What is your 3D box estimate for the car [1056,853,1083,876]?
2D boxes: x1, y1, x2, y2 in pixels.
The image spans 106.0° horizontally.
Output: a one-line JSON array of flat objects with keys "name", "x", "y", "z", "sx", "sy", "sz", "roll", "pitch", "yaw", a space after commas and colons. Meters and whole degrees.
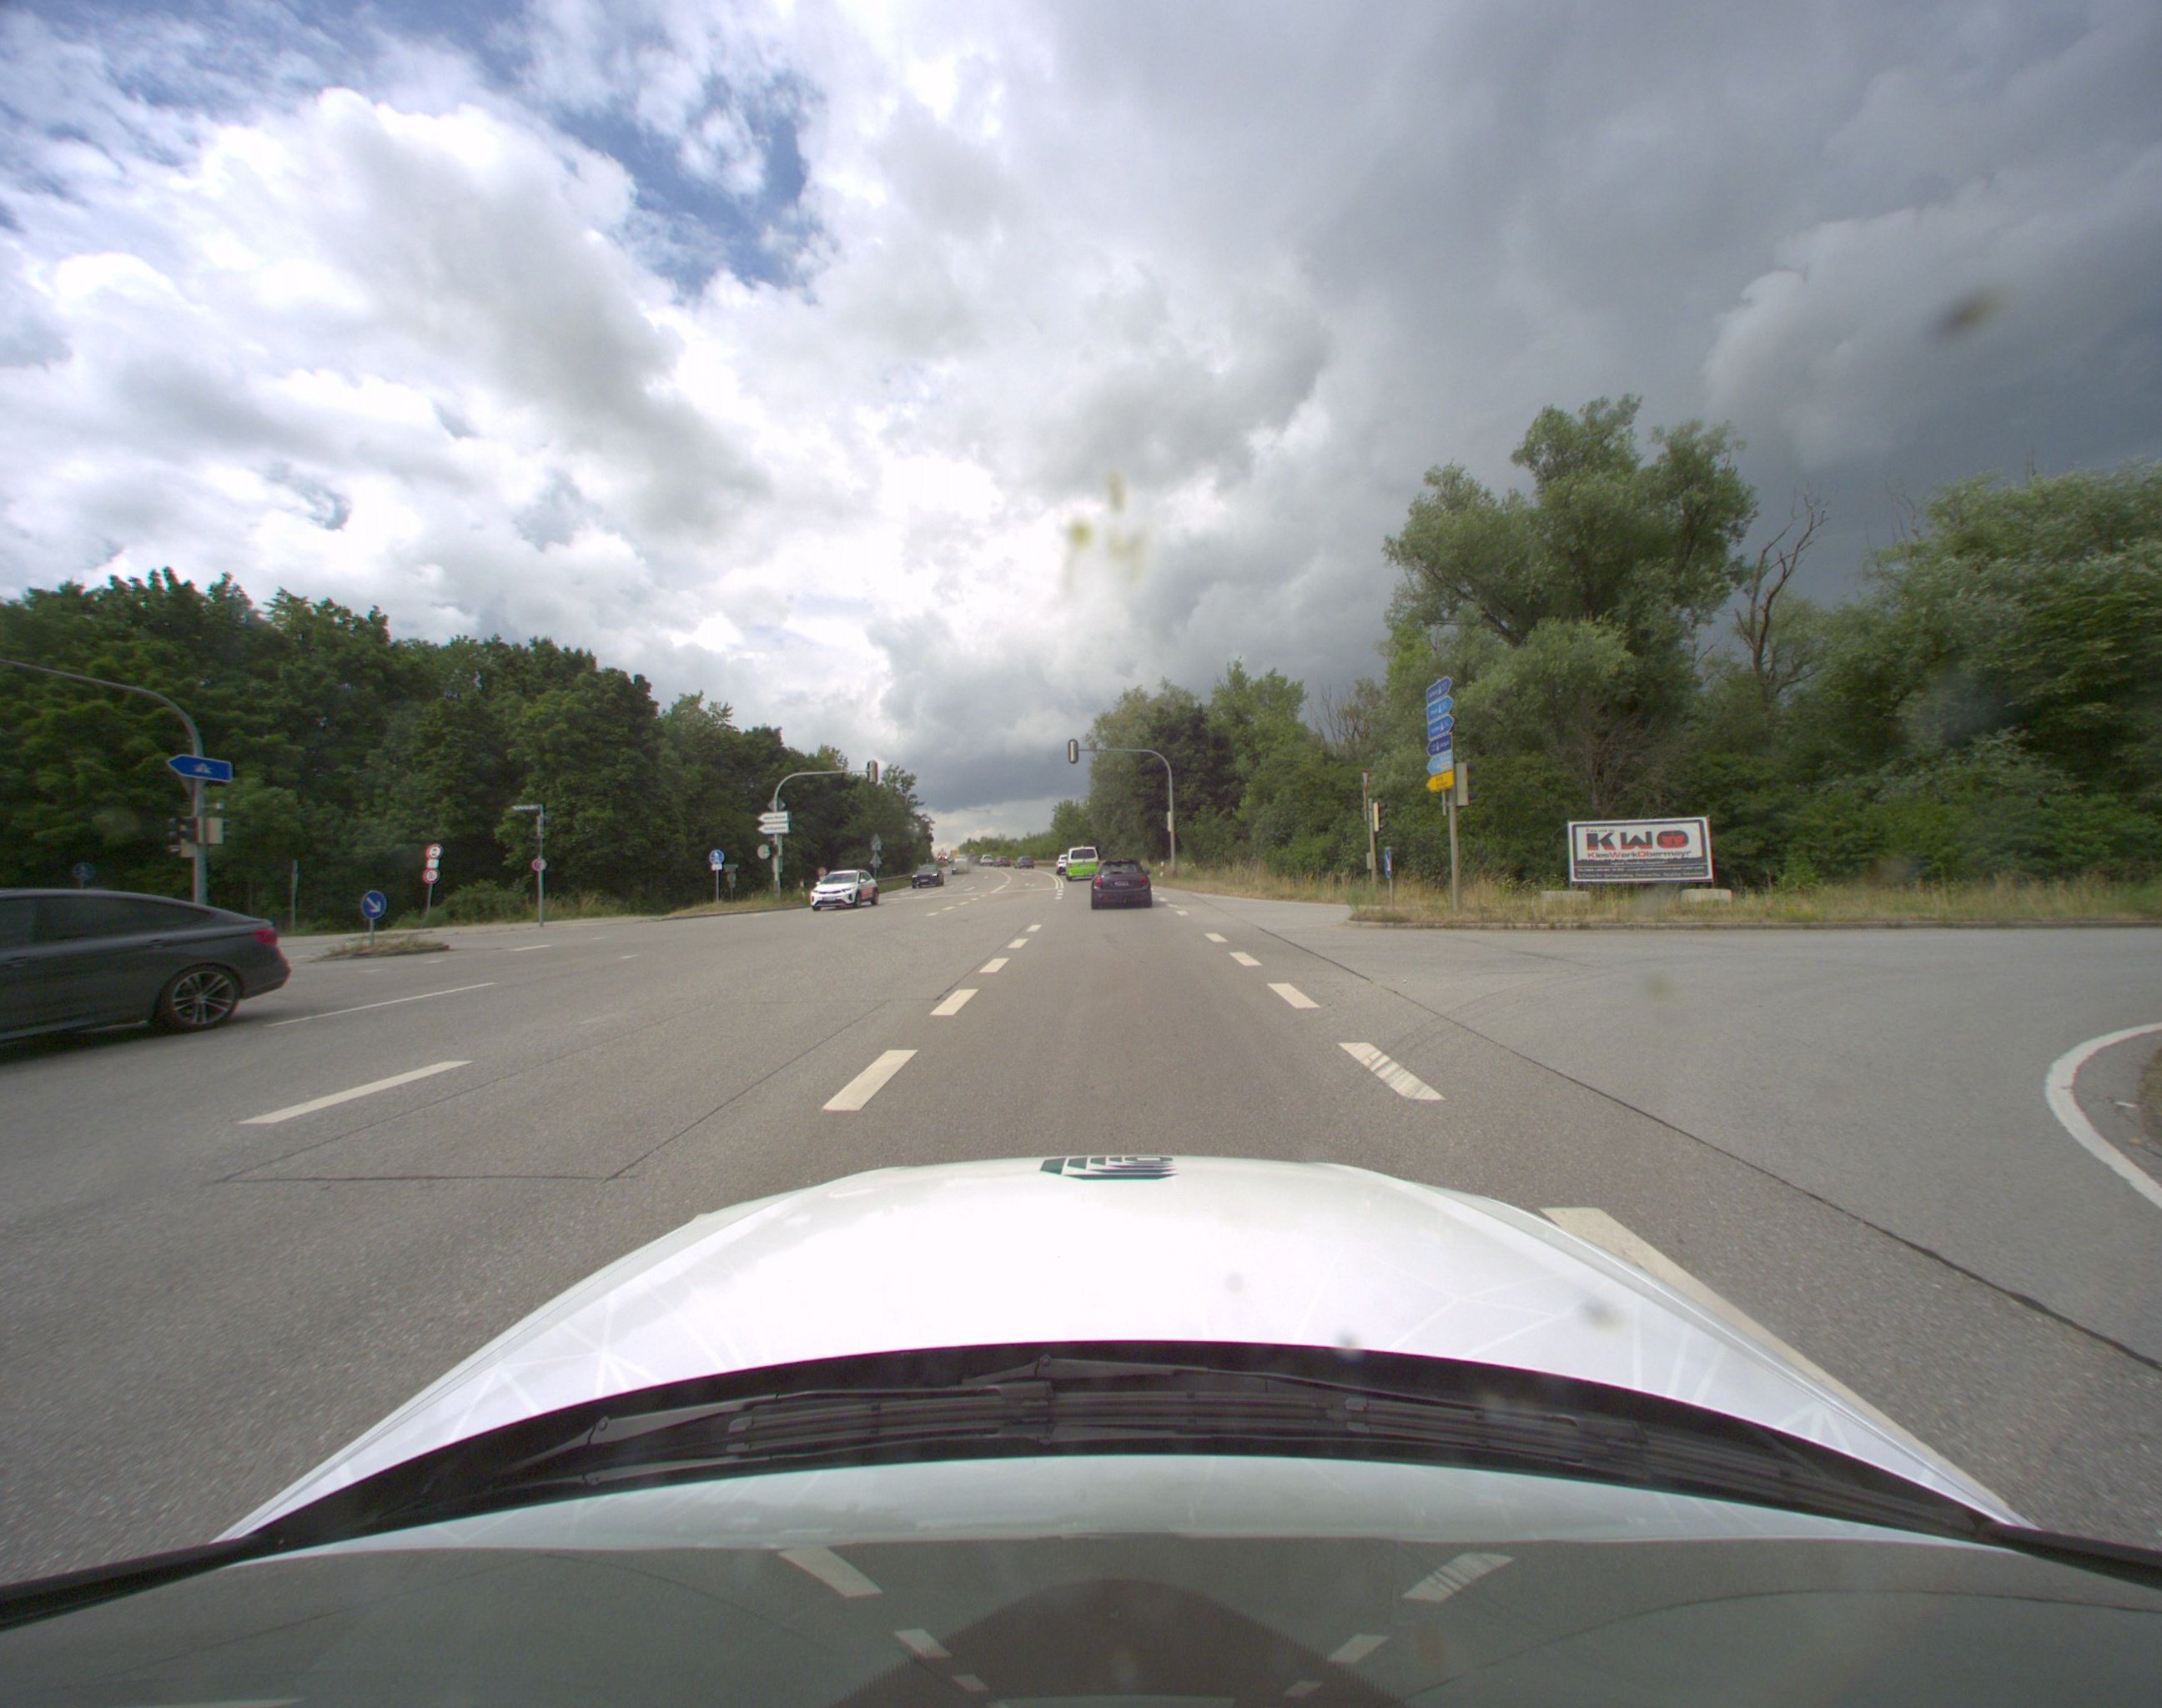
[{"name": "car", "x": -0.929, "y": 0.844, "z": 63.551, "sx": 1.988, "sy": 1.684, "sz": 3.997, "roll": -2, "pitch": -1, "yaw": -2}]

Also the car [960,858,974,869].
[{"name": "car", "x": -17.345, "y": 1.418, "z": 124.293, "sx": 1.992, "sy": 1.613, "sz": 3.990, "roll": -2, "pitch": 0, "yaw": -7}]

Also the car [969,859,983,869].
[{"name": "car", "x": -18.821, "y": 1.827, "z": 145.465, "sx": 1.996, "sy": 1.696, "sz": 4.464, "roll": -1, "pitch": -1, "yaw": -13}]

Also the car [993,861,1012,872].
[{"name": "car", "x": -10.962, "y": 1.752, "z": 113.301, "sx": 1.996, "sy": 1.476, "sz": 4.463, "roll": -1, "pitch": -1, "yaw": -14}]

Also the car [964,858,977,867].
[{"name": "car", "x": -21.847, "y": 1.627, "z": 161.112, "sx": 1.996, "sy": 1.696, "sz": 4.464, "roll": -1, "pitch": -1, "yaw": -13}]

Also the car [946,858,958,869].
[{"name": "car", "x": -24.119, "y": 1.718, "z": 151.942, "sx": 1.995, "sy": 2.014, "sz": 3.983, "roll": 0, "pitch": -1, "yaw": -12}]

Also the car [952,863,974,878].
[{"name": "car", "x": -12.642, "y": 1.744, "z": 87.495, "sx": 1.733, "sy": 1.405, "sz": 4.247, "roll": -6, "pitch": 0, "yaw": -2}]

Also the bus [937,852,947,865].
[{"name": "bus", "x": -35.358, "y": 1.170, "z": 207.387, "sx": 1.996, "sy": 3.302, "sz": 7.396, "roll": -2, "pitch": 0, "yaw": -13}]

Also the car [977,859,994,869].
[{"name": "car", "x": -14.990, "y": 1.600, "z": 127.851, "sx": 1.996, "sy": 1.476, "sz": 4.463, "roll": -1, "pitch": -1, "yaw": -14}]

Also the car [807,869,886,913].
[{"name": "car", "x": -9.168, "y": 1.416, "z": 32.227, "sx": 1.723, "sy": 1.505, "sz": 4.348, "roll": -2, "pitch": -1, "yaw": 2}]

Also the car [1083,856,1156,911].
[{"name": "car", "x": 1.071, "y": 0.846, "z": 24.376, "sx": 1.840, "sy": 1.428, "sz": 3.837, "roll": -2, "pitch": -1, "yaw": -2}]

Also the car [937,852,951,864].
[{"name": "car", "x": -20.903, "y": 0.579, "z": 124.065, "sx": 1.994, "sy": 1.690, "sz": 3.985, "roll": -2, "pitch": 0, "yaw": -11}]

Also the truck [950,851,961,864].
[{"name": "truck", "x": -33.326, "y": 0.975, "z": 215.999, "sx": 2.716, "sy": 2.898, "sz": 8.742, "roll": 0, "pitch": -3, "yaw": -9}]

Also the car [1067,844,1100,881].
[{"name": "car", "x": 0.138, "y": 0.481, "z": 48.614, "sx": 1.839, "sy": 1.986, "sz": 3.841, "roll": -1, "pitch": 2, "yaw": 0}]

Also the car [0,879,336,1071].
[{"name": "car", "x": -9.751, "y": 1.052, "z": 7.081, "sx": 1.780, "sy": 1.530, "sz": 4.908, "roll": -2, "pitch": -1, "yaw": 4}]

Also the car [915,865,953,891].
[{"name": "car", "x": -10.113, "y": 1.596, "z": 56.212, "sx": 1.757, "sy": 1.583, "sz": 4.202, "roll": -4, "pitch": -1, "yaw": 0}]

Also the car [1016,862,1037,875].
[{"name": "car", "x": -6.542, "y": 1.742, "z": 96.855, "sx": 1.994, "sy": 1.476, "sz": 4.470, "roll": -1, "pitch": -1, "yaw": -10}]
